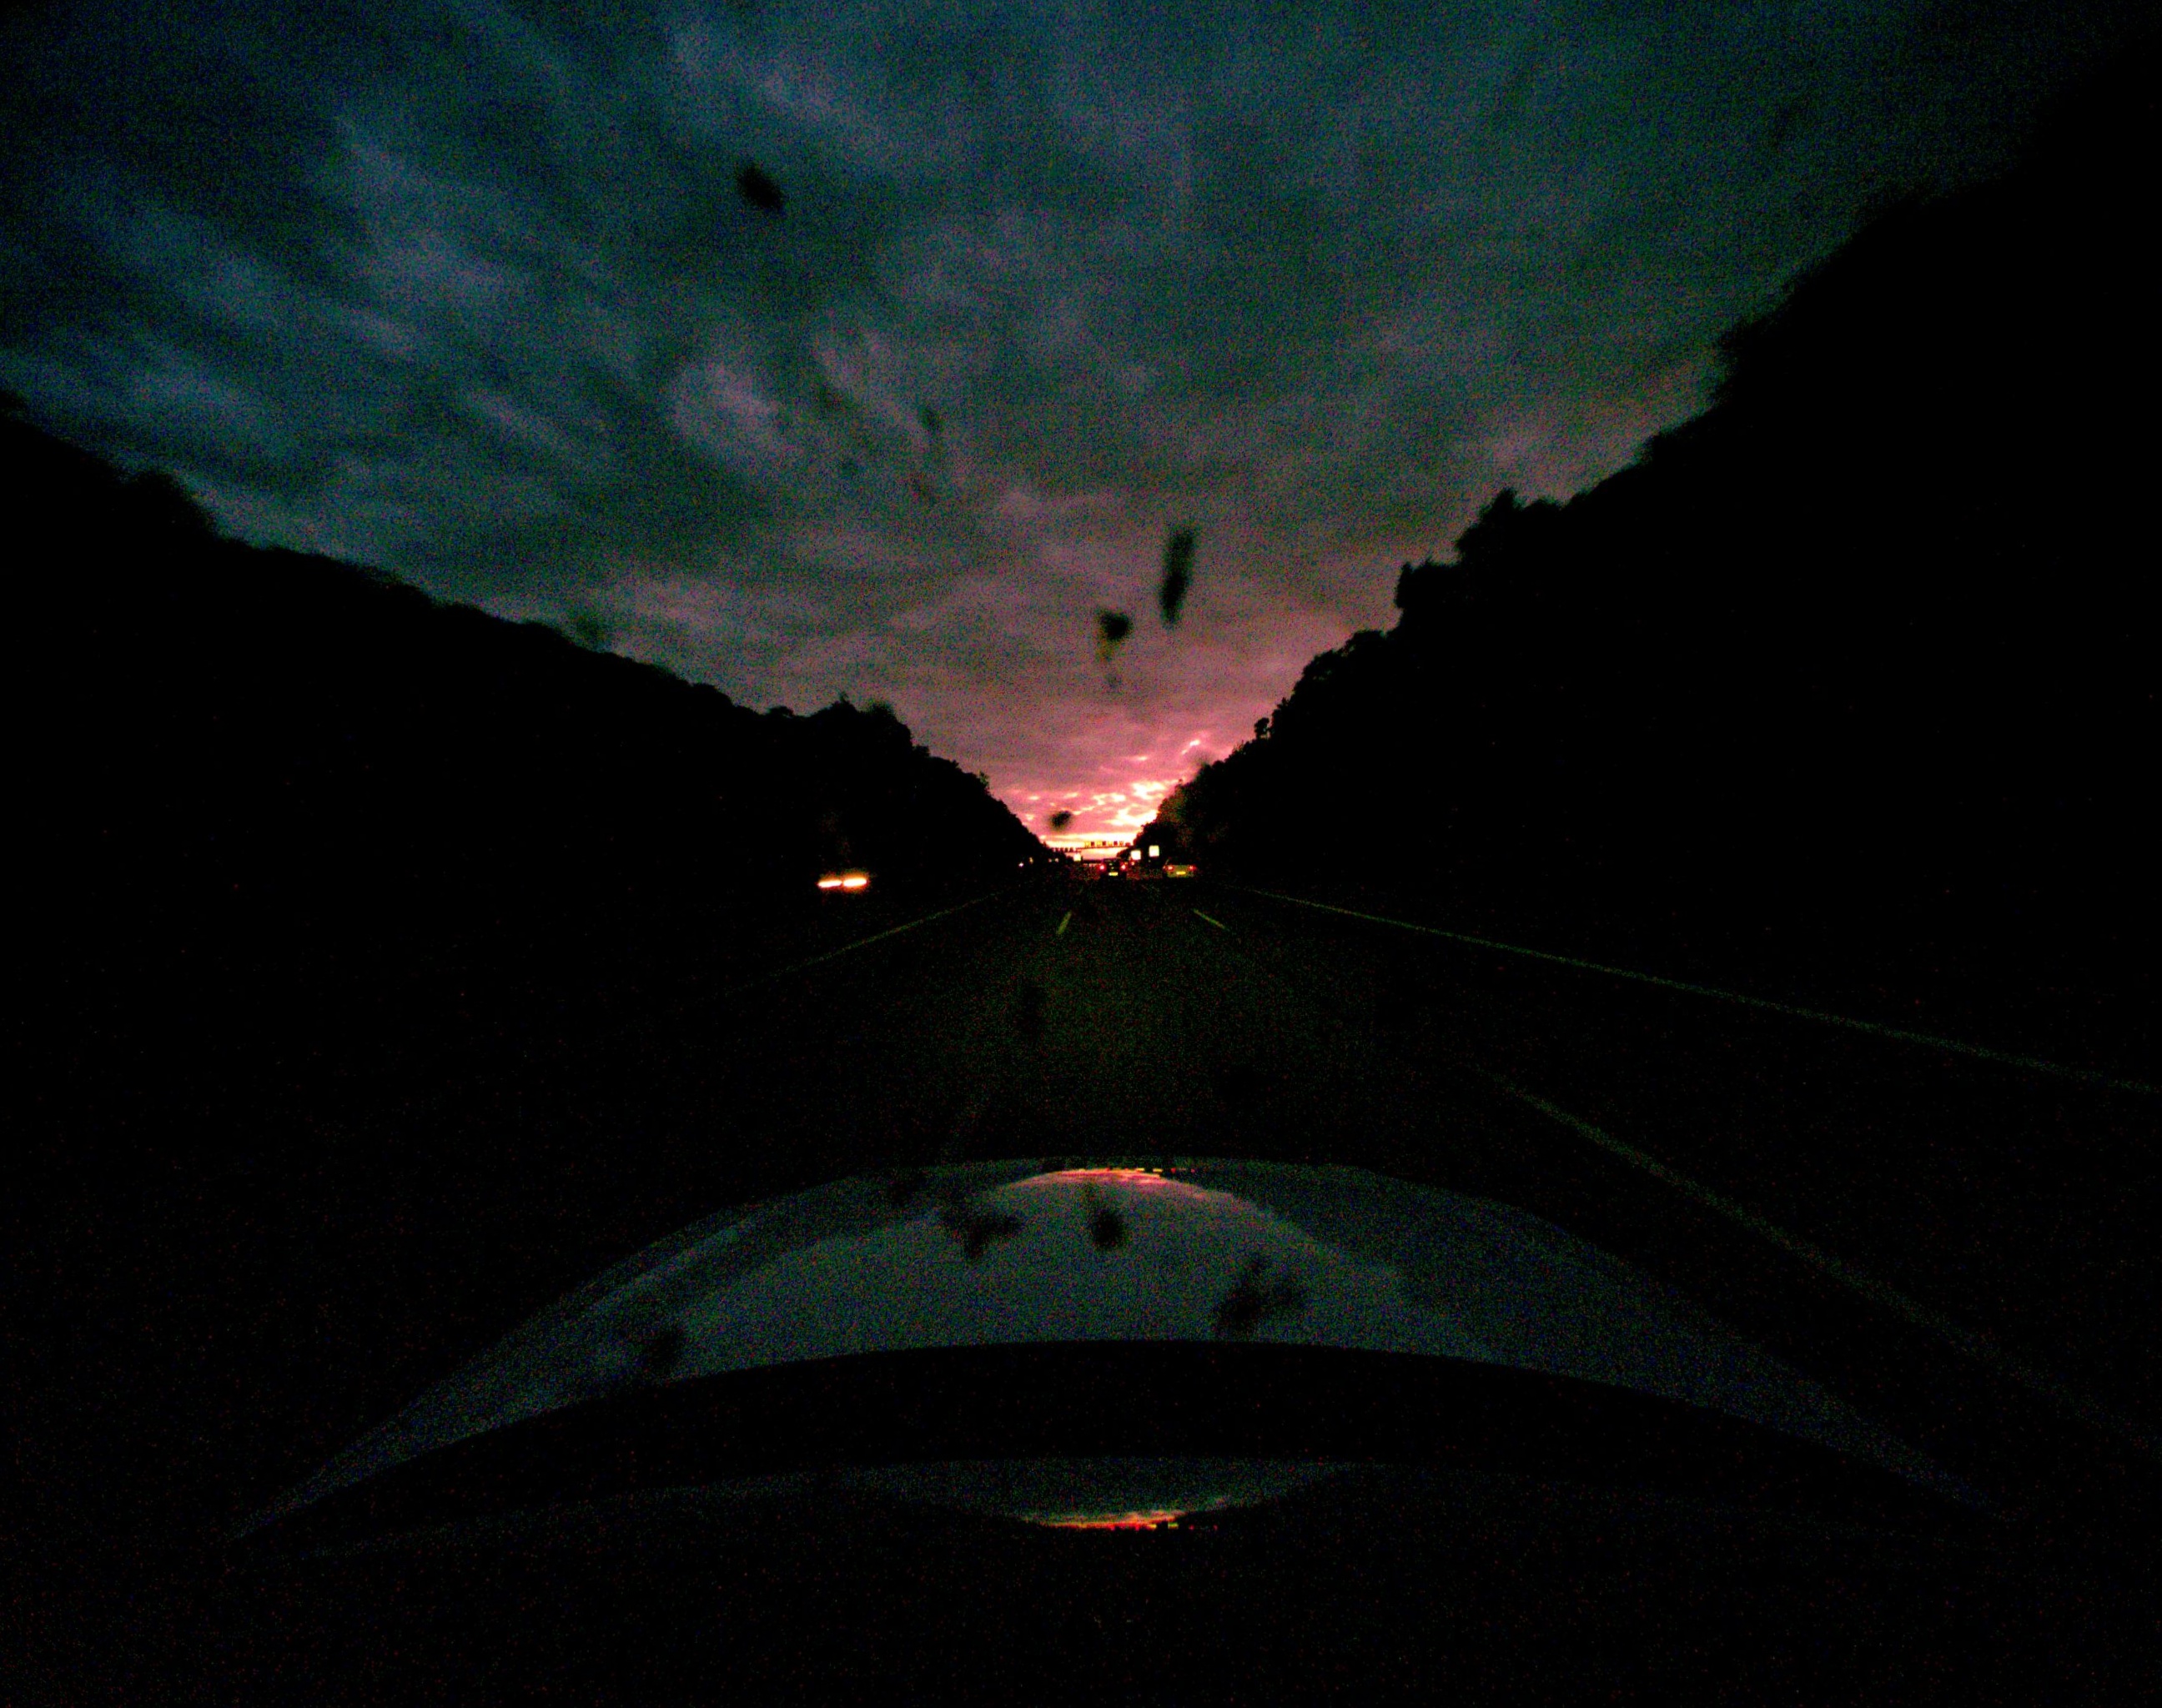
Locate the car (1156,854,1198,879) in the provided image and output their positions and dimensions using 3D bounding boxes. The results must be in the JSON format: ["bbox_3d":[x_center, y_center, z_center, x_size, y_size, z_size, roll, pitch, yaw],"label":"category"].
[{"bbox_3d":[5.845,0.813,50.132,1.821,1.476,4.393,0,-2,-3],"label":"car"}]

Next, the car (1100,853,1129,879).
[{"bbox_3d":[2.021,0.773,50.004,1.697,1.509,4.232,0,-2,1],"label":"car"}]

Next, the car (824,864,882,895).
[{"bbox_3d":[-12.870,1.407,46.262,1.874,1.575,4.655,-2,0,1],"label":"car"}]

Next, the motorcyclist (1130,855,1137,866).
[{"bbox_3d":[6.788,0.851,105.464,0.827,1.292,1.190,-1,-1,1],"label":"motorcyclist"}]

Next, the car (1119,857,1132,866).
[{"bbox_3d":[7.810,1.283,143.260,1.861,1.494,4.393,0,-2,-3],"label":"car"}]

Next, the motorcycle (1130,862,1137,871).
[{"bbox_3d":[6.809,1.570,105.514,0.827,1.134,2.476,-1,-1,1],"label":"motorcycle"}]
